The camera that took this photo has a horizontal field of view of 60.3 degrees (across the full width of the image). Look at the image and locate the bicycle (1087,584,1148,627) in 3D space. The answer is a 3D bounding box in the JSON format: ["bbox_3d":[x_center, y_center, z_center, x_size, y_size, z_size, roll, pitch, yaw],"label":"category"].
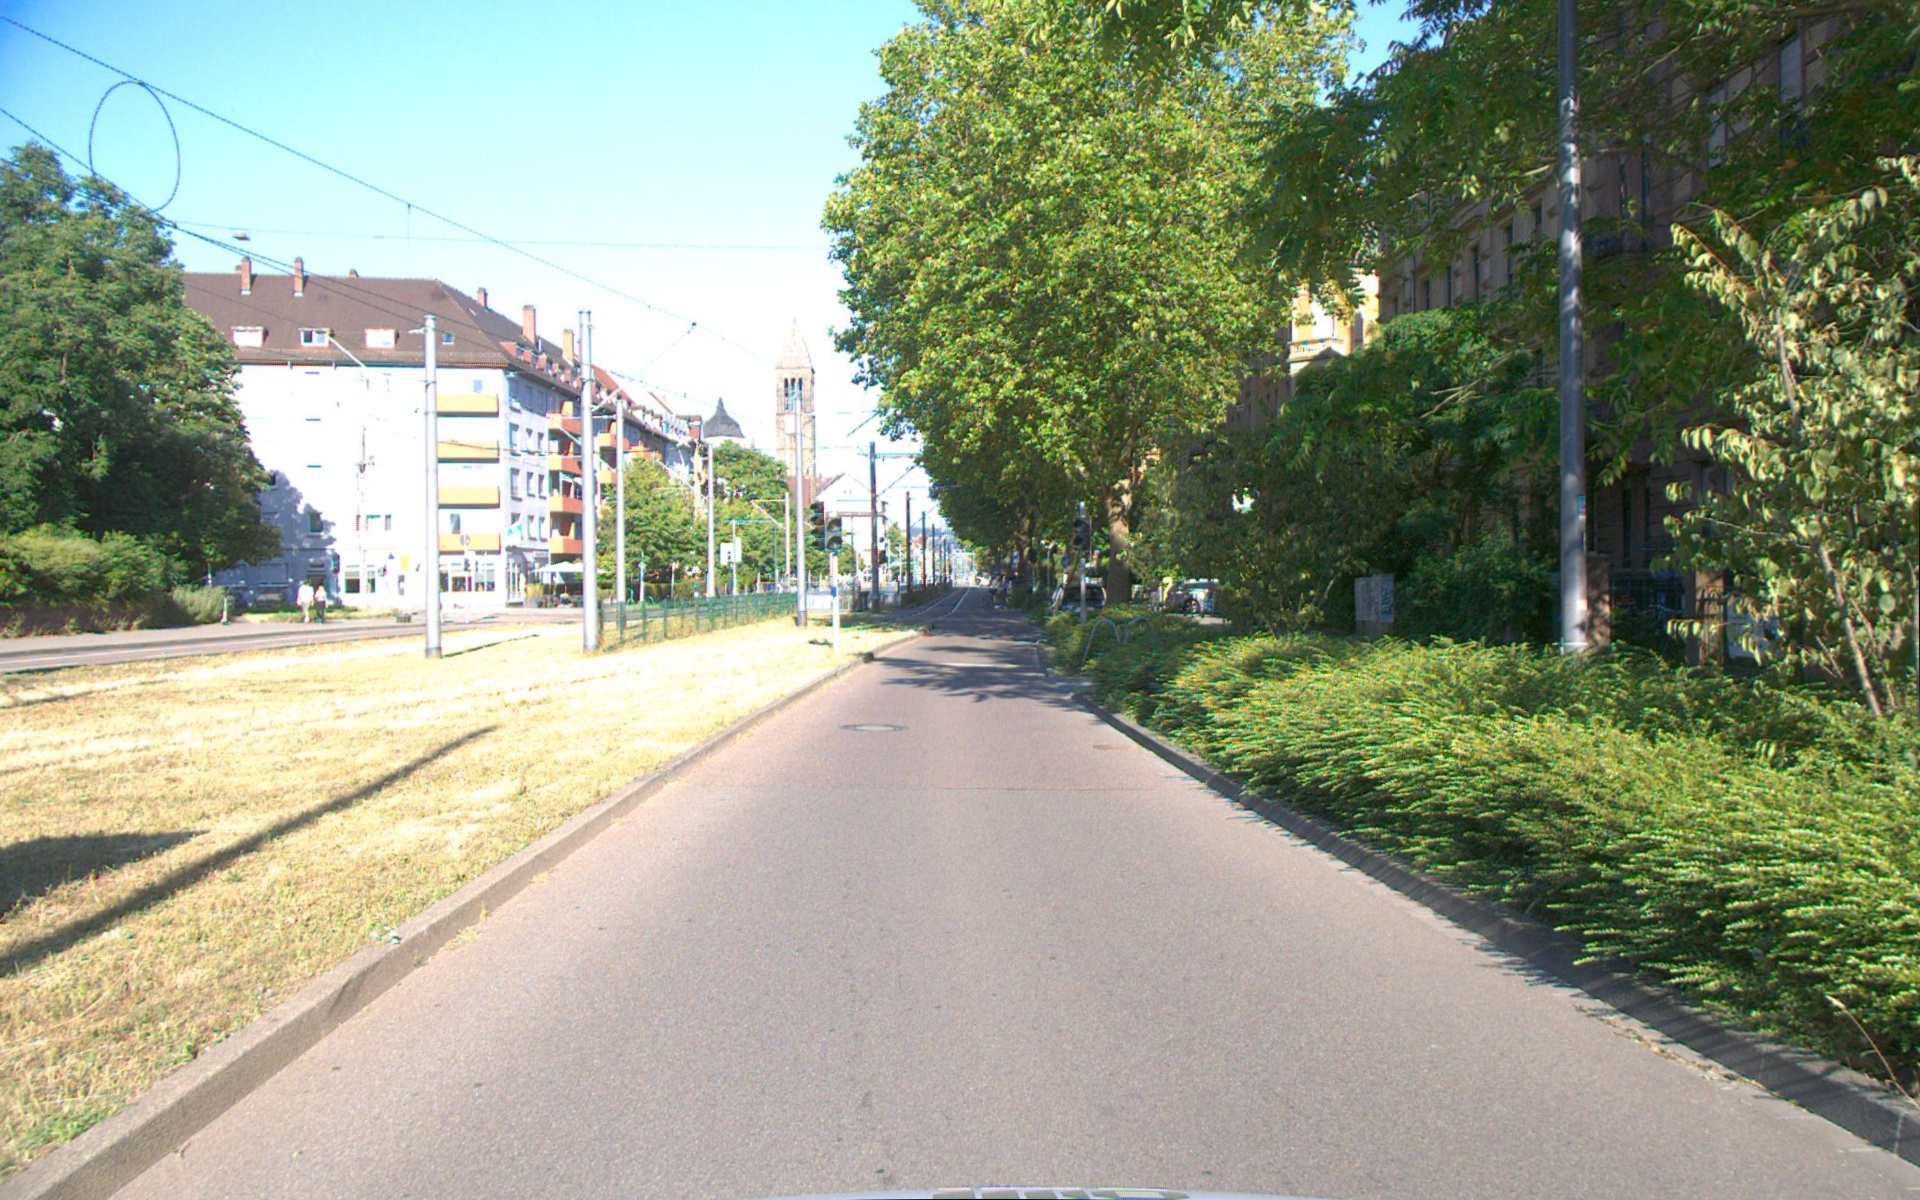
[{"bbox_3d":[4.219,0.137,44.183,1.579,1.043,0.537,-4,4,-29],"label":"bicycle"}]

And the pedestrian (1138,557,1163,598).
[{"bbox_3d":[8.322,-1.004,72.378,0.798,1.718,1.079,-2,4,-8],"label":"pedestrian"}]

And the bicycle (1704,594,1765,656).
[{"bbox_3d":[11.673,0.377,24.936,0.753,0.868,0.375,-2,3,-3],"label":"bicycle"}]

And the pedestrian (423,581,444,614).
[{"bbox_3d":[-24.709,-0.119,77.628,0.674,1.493,0.591,-2,3,4],"label":"pedestrian"}]

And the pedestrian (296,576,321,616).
[{"bbox_3d":[-27.705,-0.178,70.364,0.630,1.625,0.898,-2,4,1],"label":"pedestrian"}]

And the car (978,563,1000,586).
[{"bbox_3d":[2.775,-2.438,157.731,1.952,2.144,4.001,1,0,1],"label":"car"}]

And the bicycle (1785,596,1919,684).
[{"bbox_3d":[10.755,0.466,19.671,1.618,0.940,0.539,-2,4,2],"label":"bicycle"}]

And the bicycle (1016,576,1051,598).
[{"bbox_3d":[3.948,-0.692,88.675,1.780,1.065,0.572,-3,4,-8],"label":"bicycle"}]

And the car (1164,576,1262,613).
[{"bbox_3d":[10.941,-0.250,71.751,3.905,1.444,2.000,-2,1,0],"label":"car"}]

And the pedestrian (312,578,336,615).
[{"bbox_3d":[-27.061,-0.137,70.374,0.577,1.493,0.917,-2,4,1],"label":"pedestrian"}]

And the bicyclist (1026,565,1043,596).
[{"bbox_3d":[3.988,-1.050,88.666,0.735,1.584,0.573,-2,3,-7],"label":"bicyclist"}]

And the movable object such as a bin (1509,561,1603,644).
[{"bbox_3d":[10.654,0.036,29.614,1.207,1.406,1.257,-2,1,0],"label":"movable object such as a bin"}]

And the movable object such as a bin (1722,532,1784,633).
[{"bbox_3d":[14.108,-0.321,29.427,0.739,1.722,0.743,-2,3,-2],"label":"movable object such as a bin"}]

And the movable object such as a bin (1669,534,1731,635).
[{"bbox_3d":[13.160,-0.286,29.426,0.739,1.722,0.743,-2,3,-2],"label":"movable object such as a bin"}]

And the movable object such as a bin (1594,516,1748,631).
[{"bbox_3d":[13.546,-0.524,31.688,1.514,2.030,3.231,-2,1,0],"label":"movable object such as a bin"}]

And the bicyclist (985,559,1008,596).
[{"bbox_3d":[1.933,-1.194,87.855,1.118,1.923,0.682,-2,3,0],"label":"bicyclist"}]

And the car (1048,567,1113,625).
[{"bbox_3d":[3.470,-0.141,48.132,1.609,1.537,4.184,-2,1,1],"label":"car"}]

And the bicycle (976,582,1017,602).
[{"bbox_3d":[1.939,-0.408,87.914,2.195,0.992,0.682,-1,4,0],"label":"bicycle"}]

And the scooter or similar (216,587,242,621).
[{"bbox_3d":[-29.432,0.163,66.574,0.393,1.282,1.231,-2,4,1],"label":"scooter or similar"}]

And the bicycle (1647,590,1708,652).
[{"bbox_3d":[10.831,0.314,24.982,0.753,0.868,0.375,-2,3,-3],"label":"bicycle"}]
